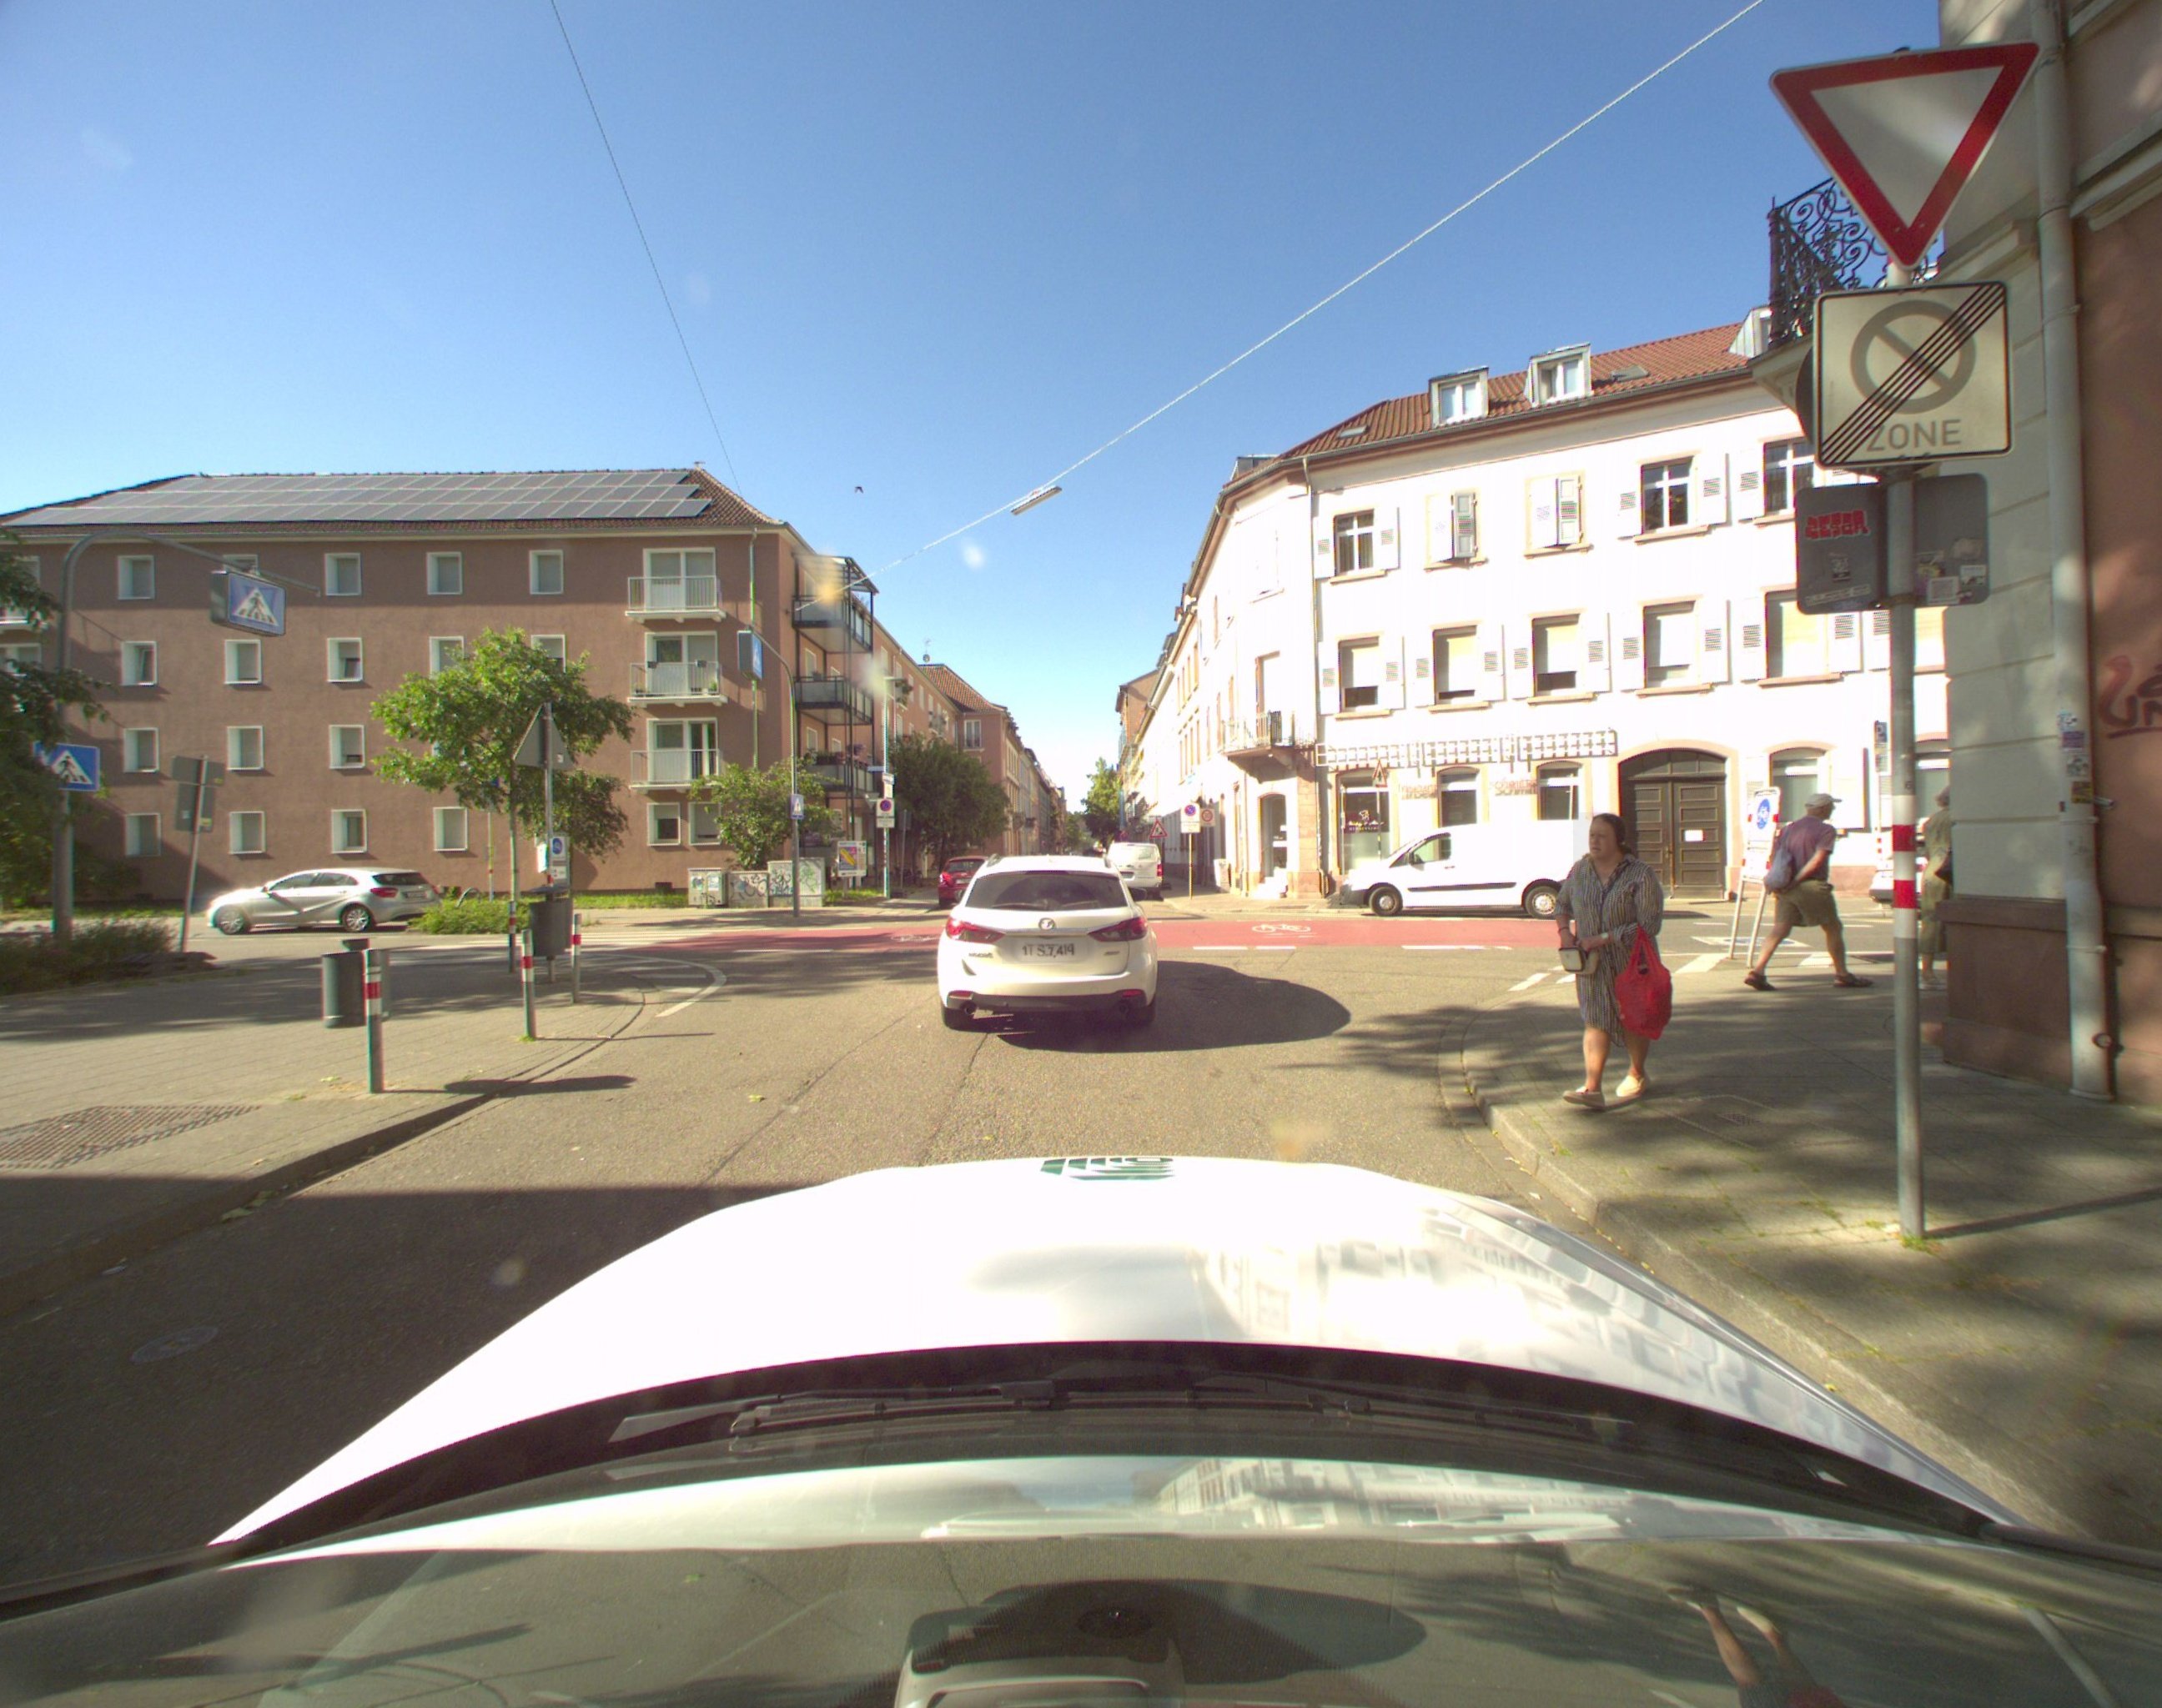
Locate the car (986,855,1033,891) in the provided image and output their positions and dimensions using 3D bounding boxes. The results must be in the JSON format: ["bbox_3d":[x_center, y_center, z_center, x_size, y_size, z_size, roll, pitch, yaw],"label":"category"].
[{"bbox_3d":[-3.143,0.800,36.566,1.647,1.500,3.764,-1,0,2],"label":"car"}]

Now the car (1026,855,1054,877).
[{"bbox_3d":[-2.894,0.829,57.831,1.647,1.500,3.764,-1,0,2],"label":"car"}]

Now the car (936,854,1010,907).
[{"bbox_3d":[-3.271,0.777,25.381,1.678,1.500,3.808,-1,0,2],"label":"car"}]

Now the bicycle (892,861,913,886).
[{"bbox_3d":[-8.043,0.880,36.699,1.201,1.071,0.255,-1,0,40],"label":"bicycle"}]

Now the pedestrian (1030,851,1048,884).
[{"bbox_3d":[-2.115,0.653,40.914,0.733,1.614,0.813,-2,0,-11],"label":"pedestrian"}]

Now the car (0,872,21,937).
[{"bbox_3d":[-27.617,1.240,18.675,4.279,1.519,1.789,-1,0,1],"label":"car"}]

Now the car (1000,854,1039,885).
[{"bbox_3d":[-3.206,0.779,42.913,1.647,1.500,3.764,-1,0,2],"label":"car"}]

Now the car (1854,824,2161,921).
[{"bbox_3d":[16.585,0.329,14.091,4.330,1.542,1.655,-1,-1,23],"label":"car"}]

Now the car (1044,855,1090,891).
[{"bbox_3d":[-0.528,0.779,34.845,1.754,1.410,4.329,-1,0,2],"label":"car"}]

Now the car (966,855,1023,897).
[{"bbox_3d":[-3.282,0.802,31.549,1.647,1.500,4.081,-1,0,2],"label":"car"}]

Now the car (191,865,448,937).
[{"bbox_3d":[-17.166,1.029,18.503,4.128,1.454,1.746,-1,0,0],"label":"car"}]

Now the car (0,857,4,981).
[{"bbox_3d":[-14.988,0.869,8.494,1.747,1.612,4.303,-1,0,0],"label":"car"}]

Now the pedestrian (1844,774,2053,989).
[{"bbox_3d":[7.310,0.237,6.908,0.833,1.667,0.626,-5,-5,1],"label":"pedestrian"}]

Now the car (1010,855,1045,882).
[{"bbox_3d":[-3.062,0.807,47.526,1.647,1.500,3.764,-1,0,2],"label":"car"}]

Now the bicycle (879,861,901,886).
[{"bbox_3d":[-8.493,0.871,36.199,1.201,1.072,0.268,-1,0,40],"label":"bicycle"}]

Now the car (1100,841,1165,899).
[{"bbox_3d":[1.734,0.514,28.972,1.889,1.859,5.011,1,0,-1],"label":"car"}]

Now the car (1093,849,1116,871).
[{"bbox_3d":[2.065,0.507,70.244,1.887,1.859,3.996,-1,0,2],"label":"car"}]

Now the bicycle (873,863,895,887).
[{"bbox_3d":[-8.706,0.911,35.951,1.201,1.035,0.293,-1,0,40],"label":"bicycle"}]

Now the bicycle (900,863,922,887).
[{"bbox_3d":[-7.691,0.927,36.800,1.204,1.071,0.255,-1,0,40],"label":"bicycle"}]

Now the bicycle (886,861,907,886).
[{"bbox_3d":[-8.265,0.877,36.459,1.201,1.071,0.255,-1,0,40],"label":"bicycle"}]

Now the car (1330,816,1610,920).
[{"bbox_3d":[7.929,0.292,17.042,4.964,1.946,2.062,-1,0,23],"label":"car"}]

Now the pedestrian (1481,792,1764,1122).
[{"bbox_3d":[2.927,0.522,4.521,0.841,1.573,0.846,-6,-1,1],"label":"pedestrian"}]

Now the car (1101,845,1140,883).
[{"bbox_3d":[2.005,0.483,42.434,1.887,1.859,3.996,-1,0,2],"label":"car"}]

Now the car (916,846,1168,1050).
[{"bbox_3d":[-0.236,0.689,7.956,1.824,1.457,3.963,-1,0,1],"label":"car"}]

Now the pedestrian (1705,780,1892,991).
[{"bbox_3d":[6.482,0.289,7.418,0.747,1.765,0.830,-5,-4,0],"label":"pedestrian"}]
